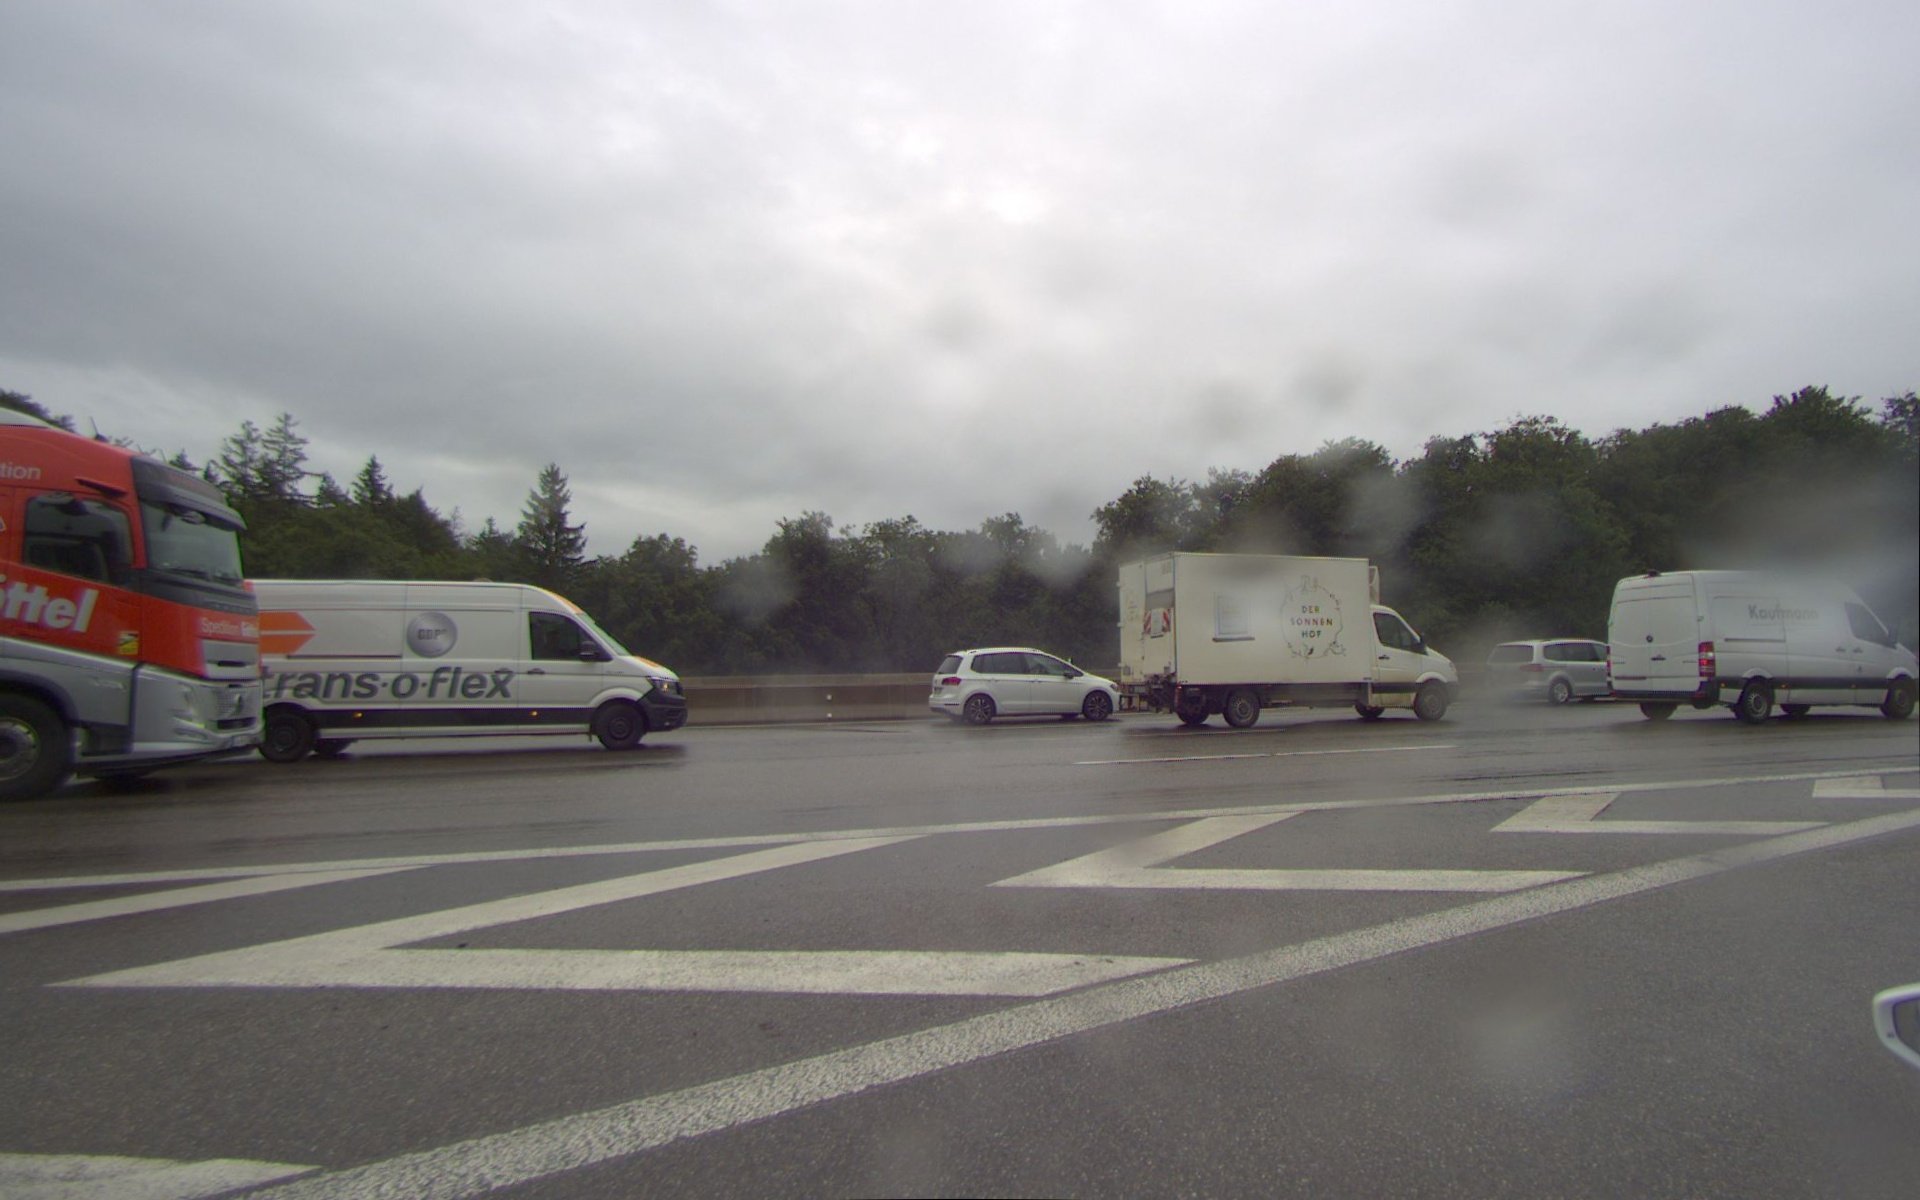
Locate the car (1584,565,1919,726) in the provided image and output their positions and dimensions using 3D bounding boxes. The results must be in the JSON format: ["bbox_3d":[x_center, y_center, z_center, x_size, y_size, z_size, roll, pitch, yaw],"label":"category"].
[{"bbox_3d":[14.745,0.849,18.530,5.748,2.664,2.215,1,-3,-17],"label":"car"}]

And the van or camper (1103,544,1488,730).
[{"bbox_3d":[6.569,0.757,19.817,7.016,3.246,2.579,1,-3,-17],"label":"van or camper"}]

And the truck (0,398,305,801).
[{"bbox_3d":[-10.168,0.052,10.857,4.514,3.914,2.627,0,-3,-17],"label":"truck"}]

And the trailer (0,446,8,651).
[{"bbox_3d":[-17.404,0.008,8.643,13.455,3.914,2.627,1,-3,-17],"label":"trailer"}]

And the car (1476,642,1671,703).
[{"bbox_3d":[16.330,1.894,26.766,4.555,1.542,1.866,1,-3,-17],"label":"car"}]

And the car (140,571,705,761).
[{"bbox_3d":[-7.688,0.973,15.425,7.244,2.520,2.149,1,-3,-16],"label":"car"}]

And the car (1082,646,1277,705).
[{"bbox_3d":[5.741,1.945,26.344,4.754,1.443,1.745,1,-3,-16],"label":"car"}]

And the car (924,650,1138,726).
[{"bbox_3d":[1.516,1.857,21.772,4.342,1.542,1.615,1,-3,-16],"label":"car"}]

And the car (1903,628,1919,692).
[{"bbox_3d":[32.669,1.997,32.209,3.936,2.040,1.797,2,0,-17],"label":"car"}]
